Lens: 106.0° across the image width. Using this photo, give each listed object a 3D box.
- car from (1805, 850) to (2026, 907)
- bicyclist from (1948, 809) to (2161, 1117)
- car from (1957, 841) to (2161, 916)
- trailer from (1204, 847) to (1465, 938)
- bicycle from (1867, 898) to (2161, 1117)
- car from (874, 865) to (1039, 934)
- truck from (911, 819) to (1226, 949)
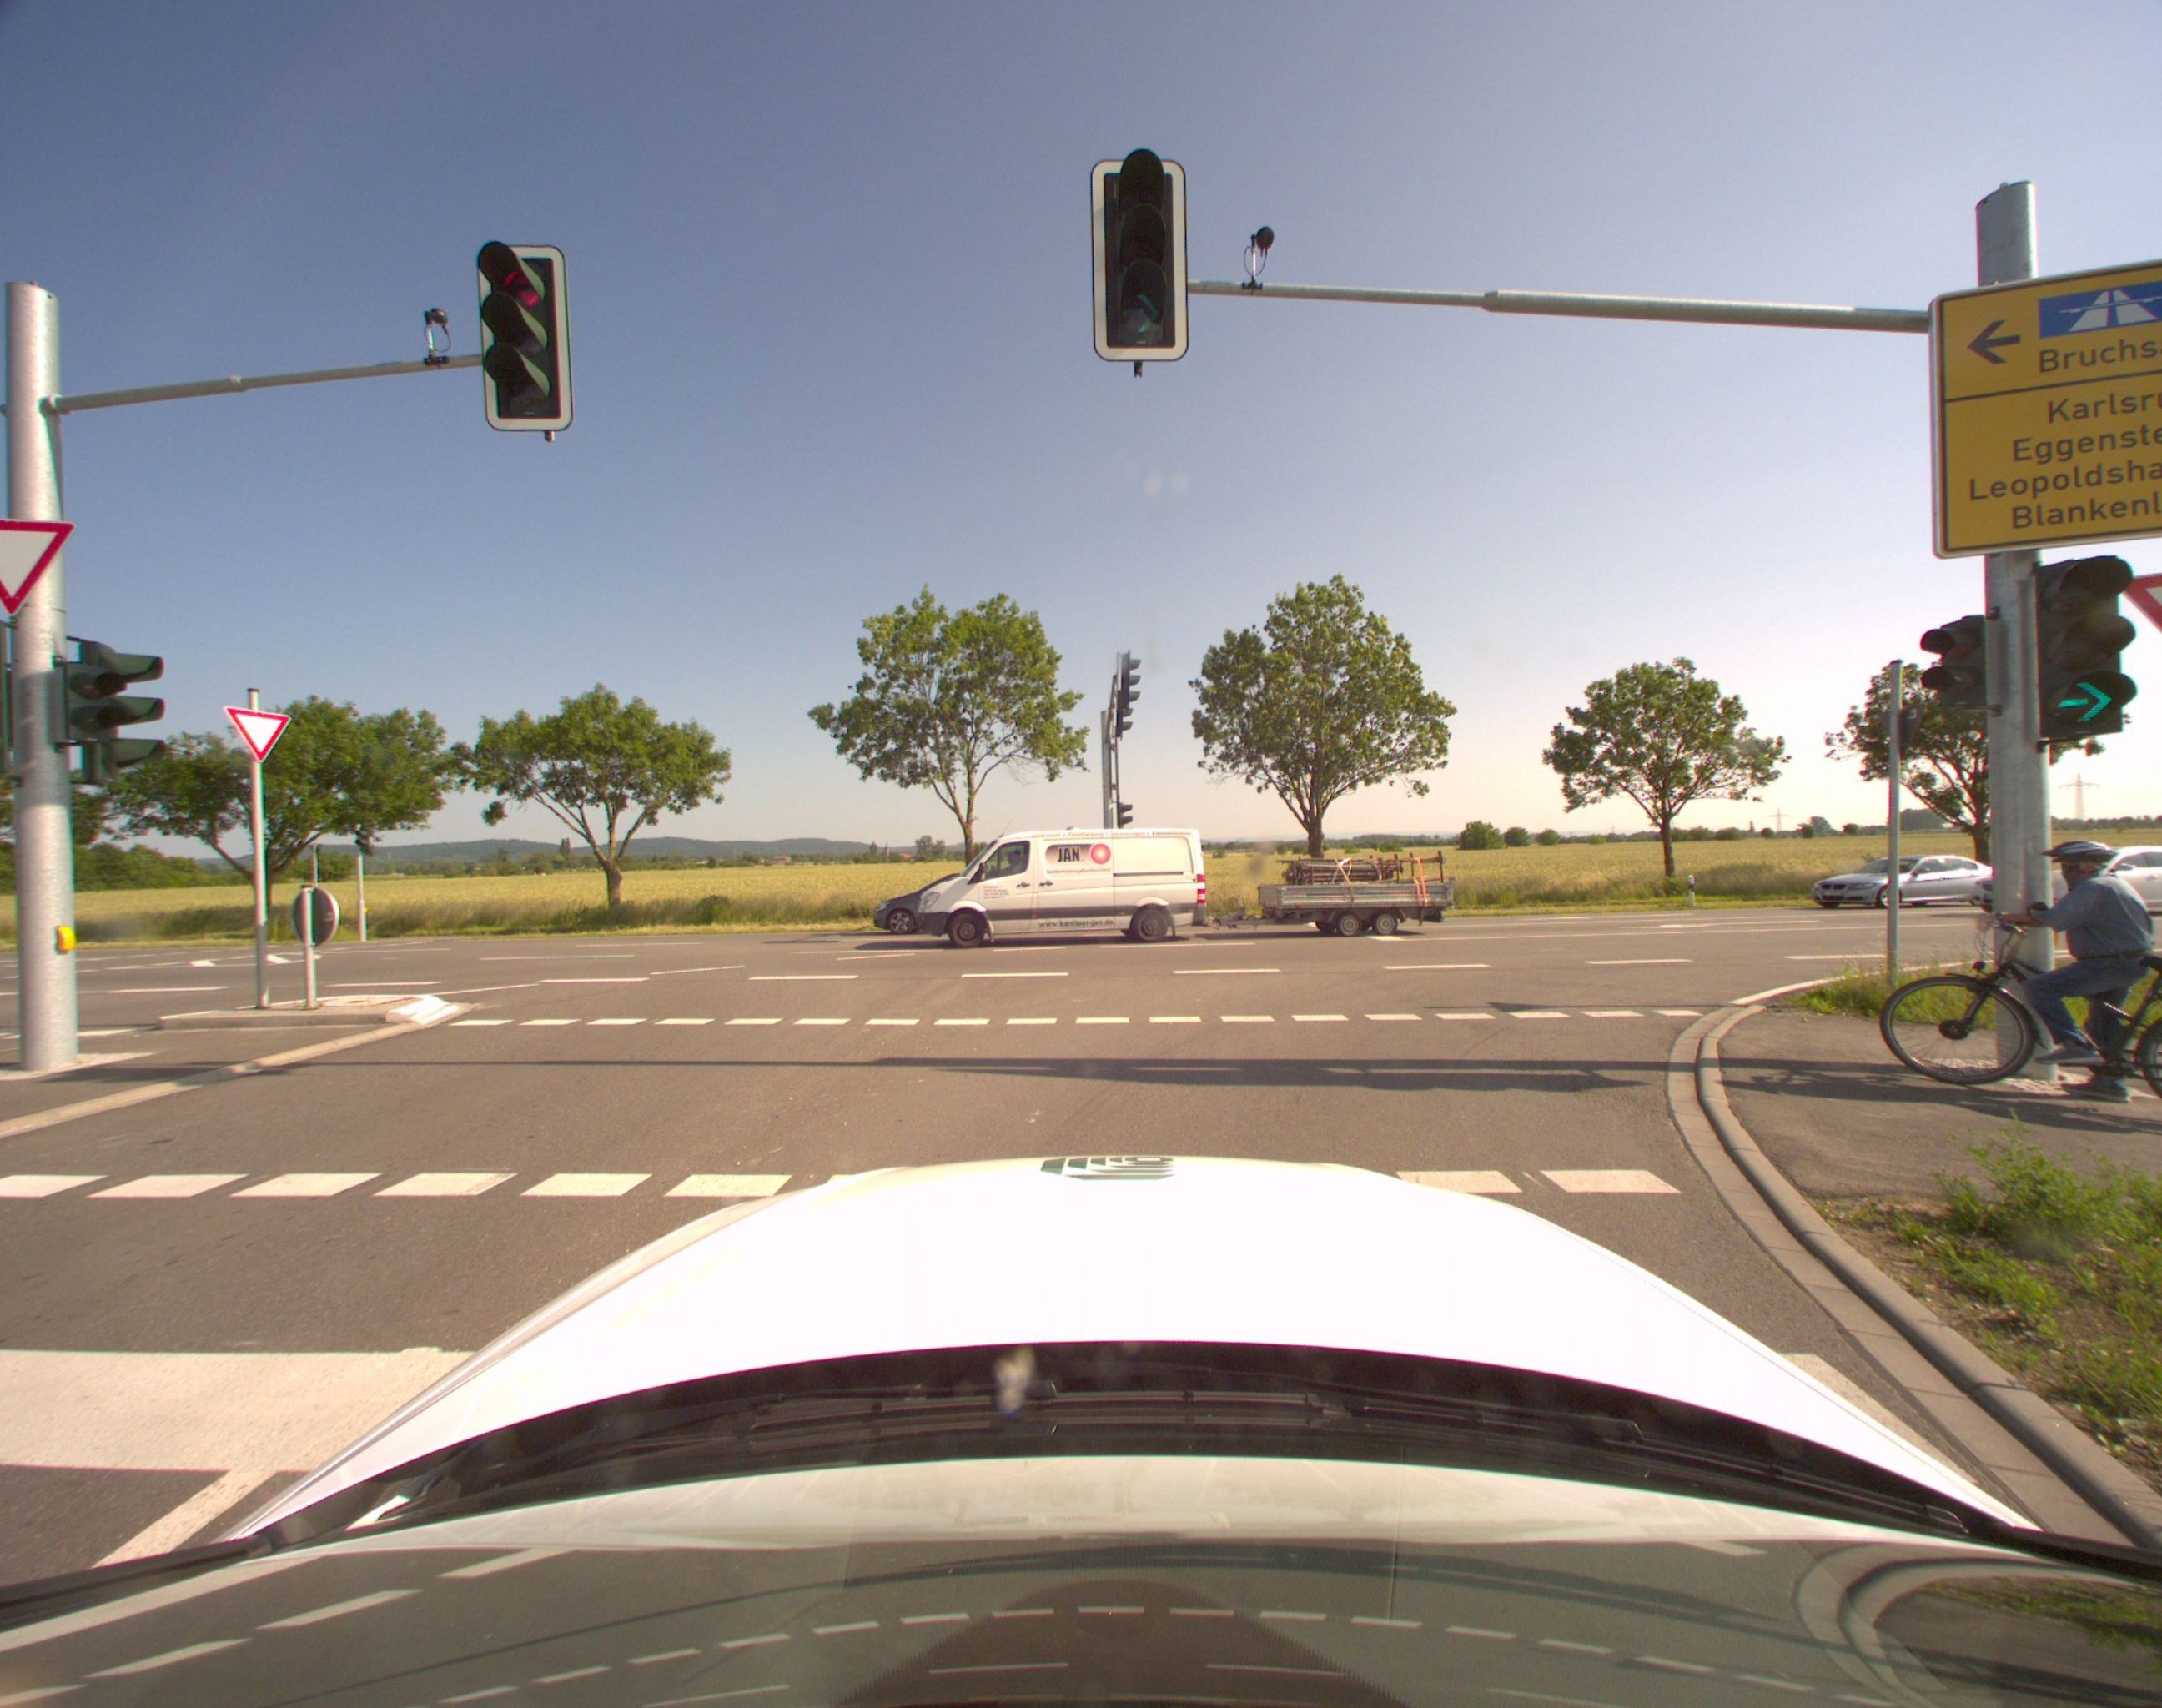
[{"bbox_3d":[22.796,0.685,22.346,4.395,1.377,1.633,-1,-3,-1],"label":"car"},{"bbox_3d":[6.189,0.616,5.146,0.906,1.765,0.623,2,1,45],"label":"bicyclist"},{"bbox_3d":[22.594,0.503,18.061,4.684,1.492,1.762,-1,-1,-4],"label":"car"},{"bbox_3d":[5.316,0.806,17.560,4.981,1.738,1.980,-1,-1,-1],"label":"trailer"},{"bbox_3d":[6.259,0.927,5.076,0.685,1.151,1.921,1,1,-45],"label":"bicycle"},{"bbox_3d":[-3.164,1.184,21.321,3.973,1.626,1.890,-2,-3,0],"label":"car"},{"bbox_3d":[-0.290,0.579,17.013,6.173,2.405,2.066,-1,-2,-7],"label":"truck"}]
